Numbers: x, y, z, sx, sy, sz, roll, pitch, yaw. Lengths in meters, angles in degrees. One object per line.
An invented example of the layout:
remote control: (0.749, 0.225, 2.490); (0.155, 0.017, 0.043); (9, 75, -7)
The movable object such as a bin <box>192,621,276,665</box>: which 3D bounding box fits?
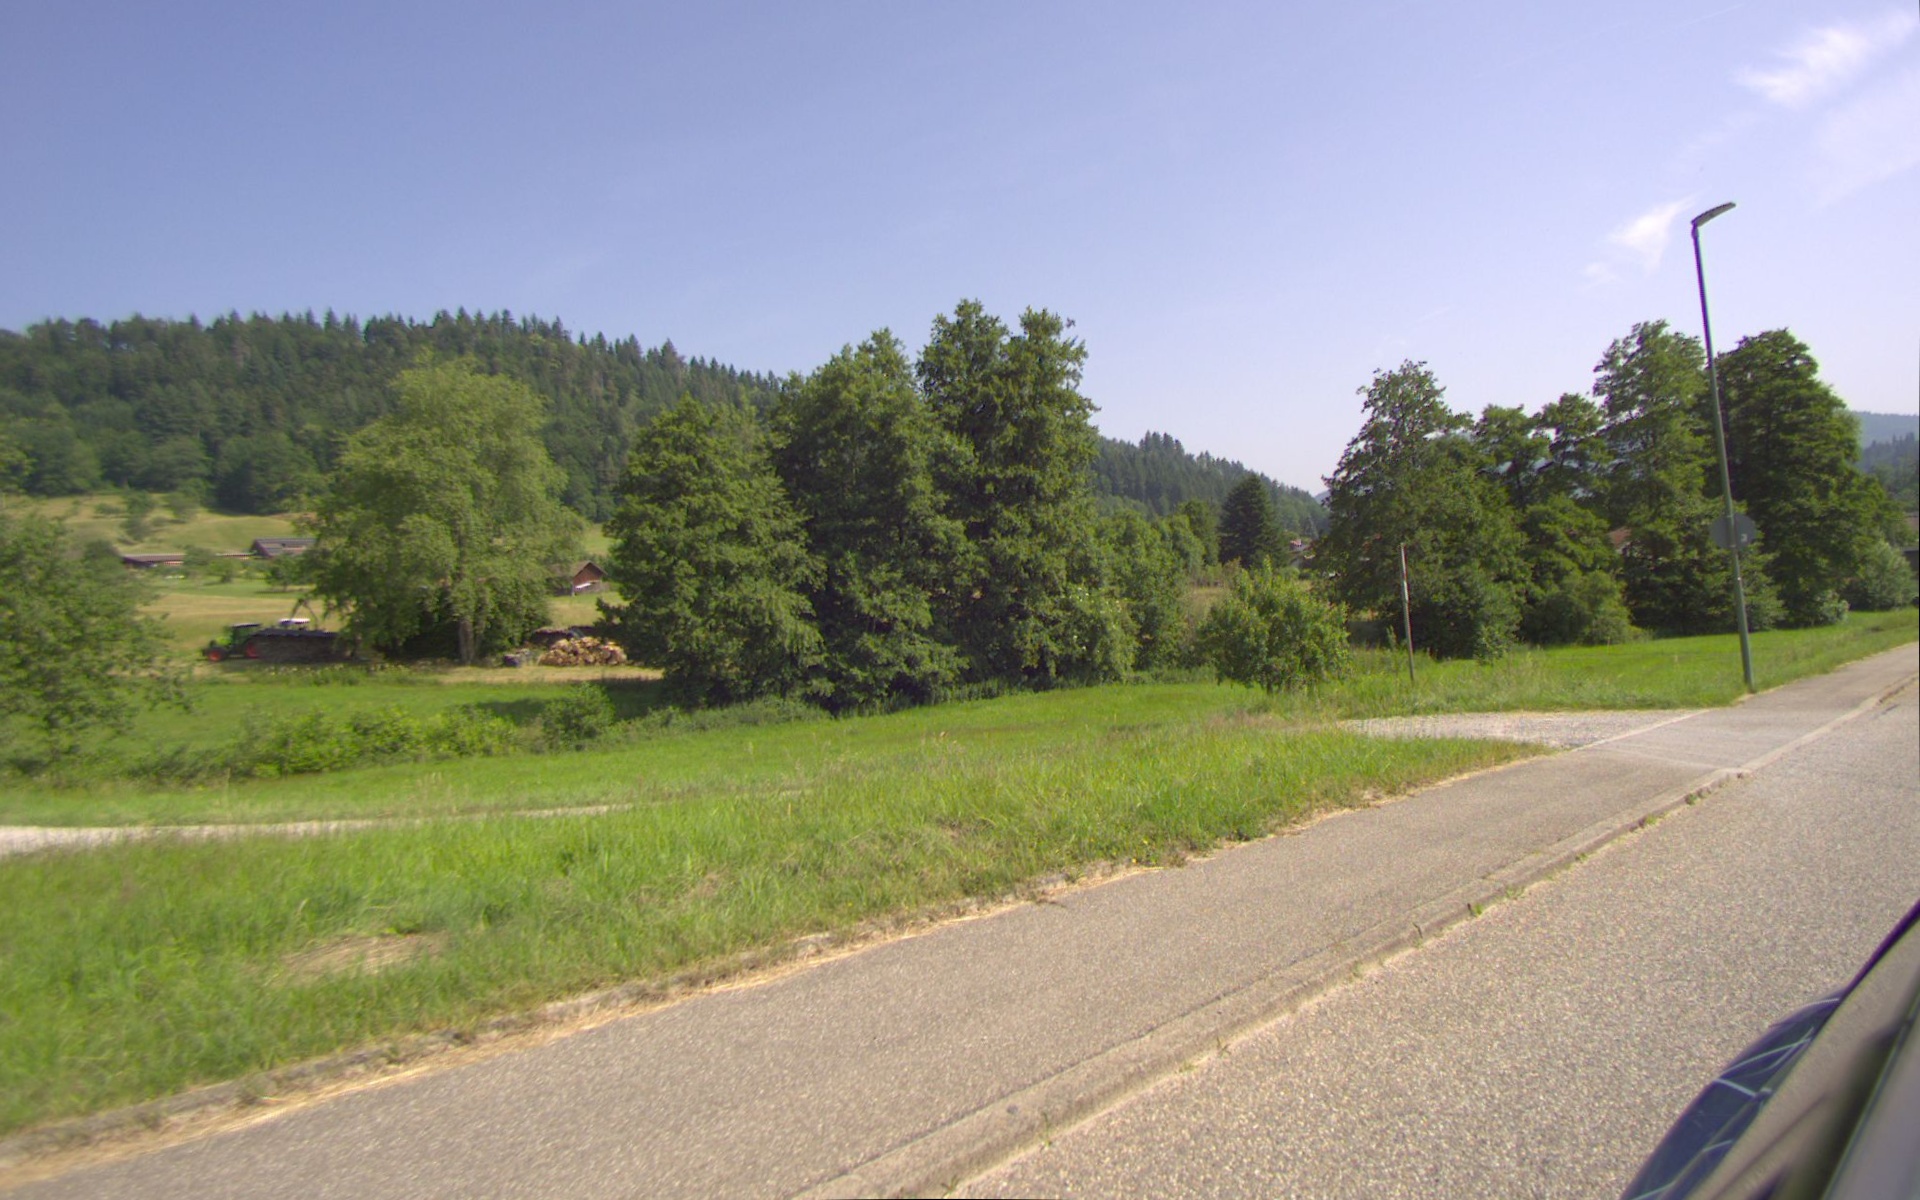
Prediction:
movable object such as a bin: (-48.222, 2.813, 67.287); (4.460, 2.631, 1.999); (-2, 1, -37)
